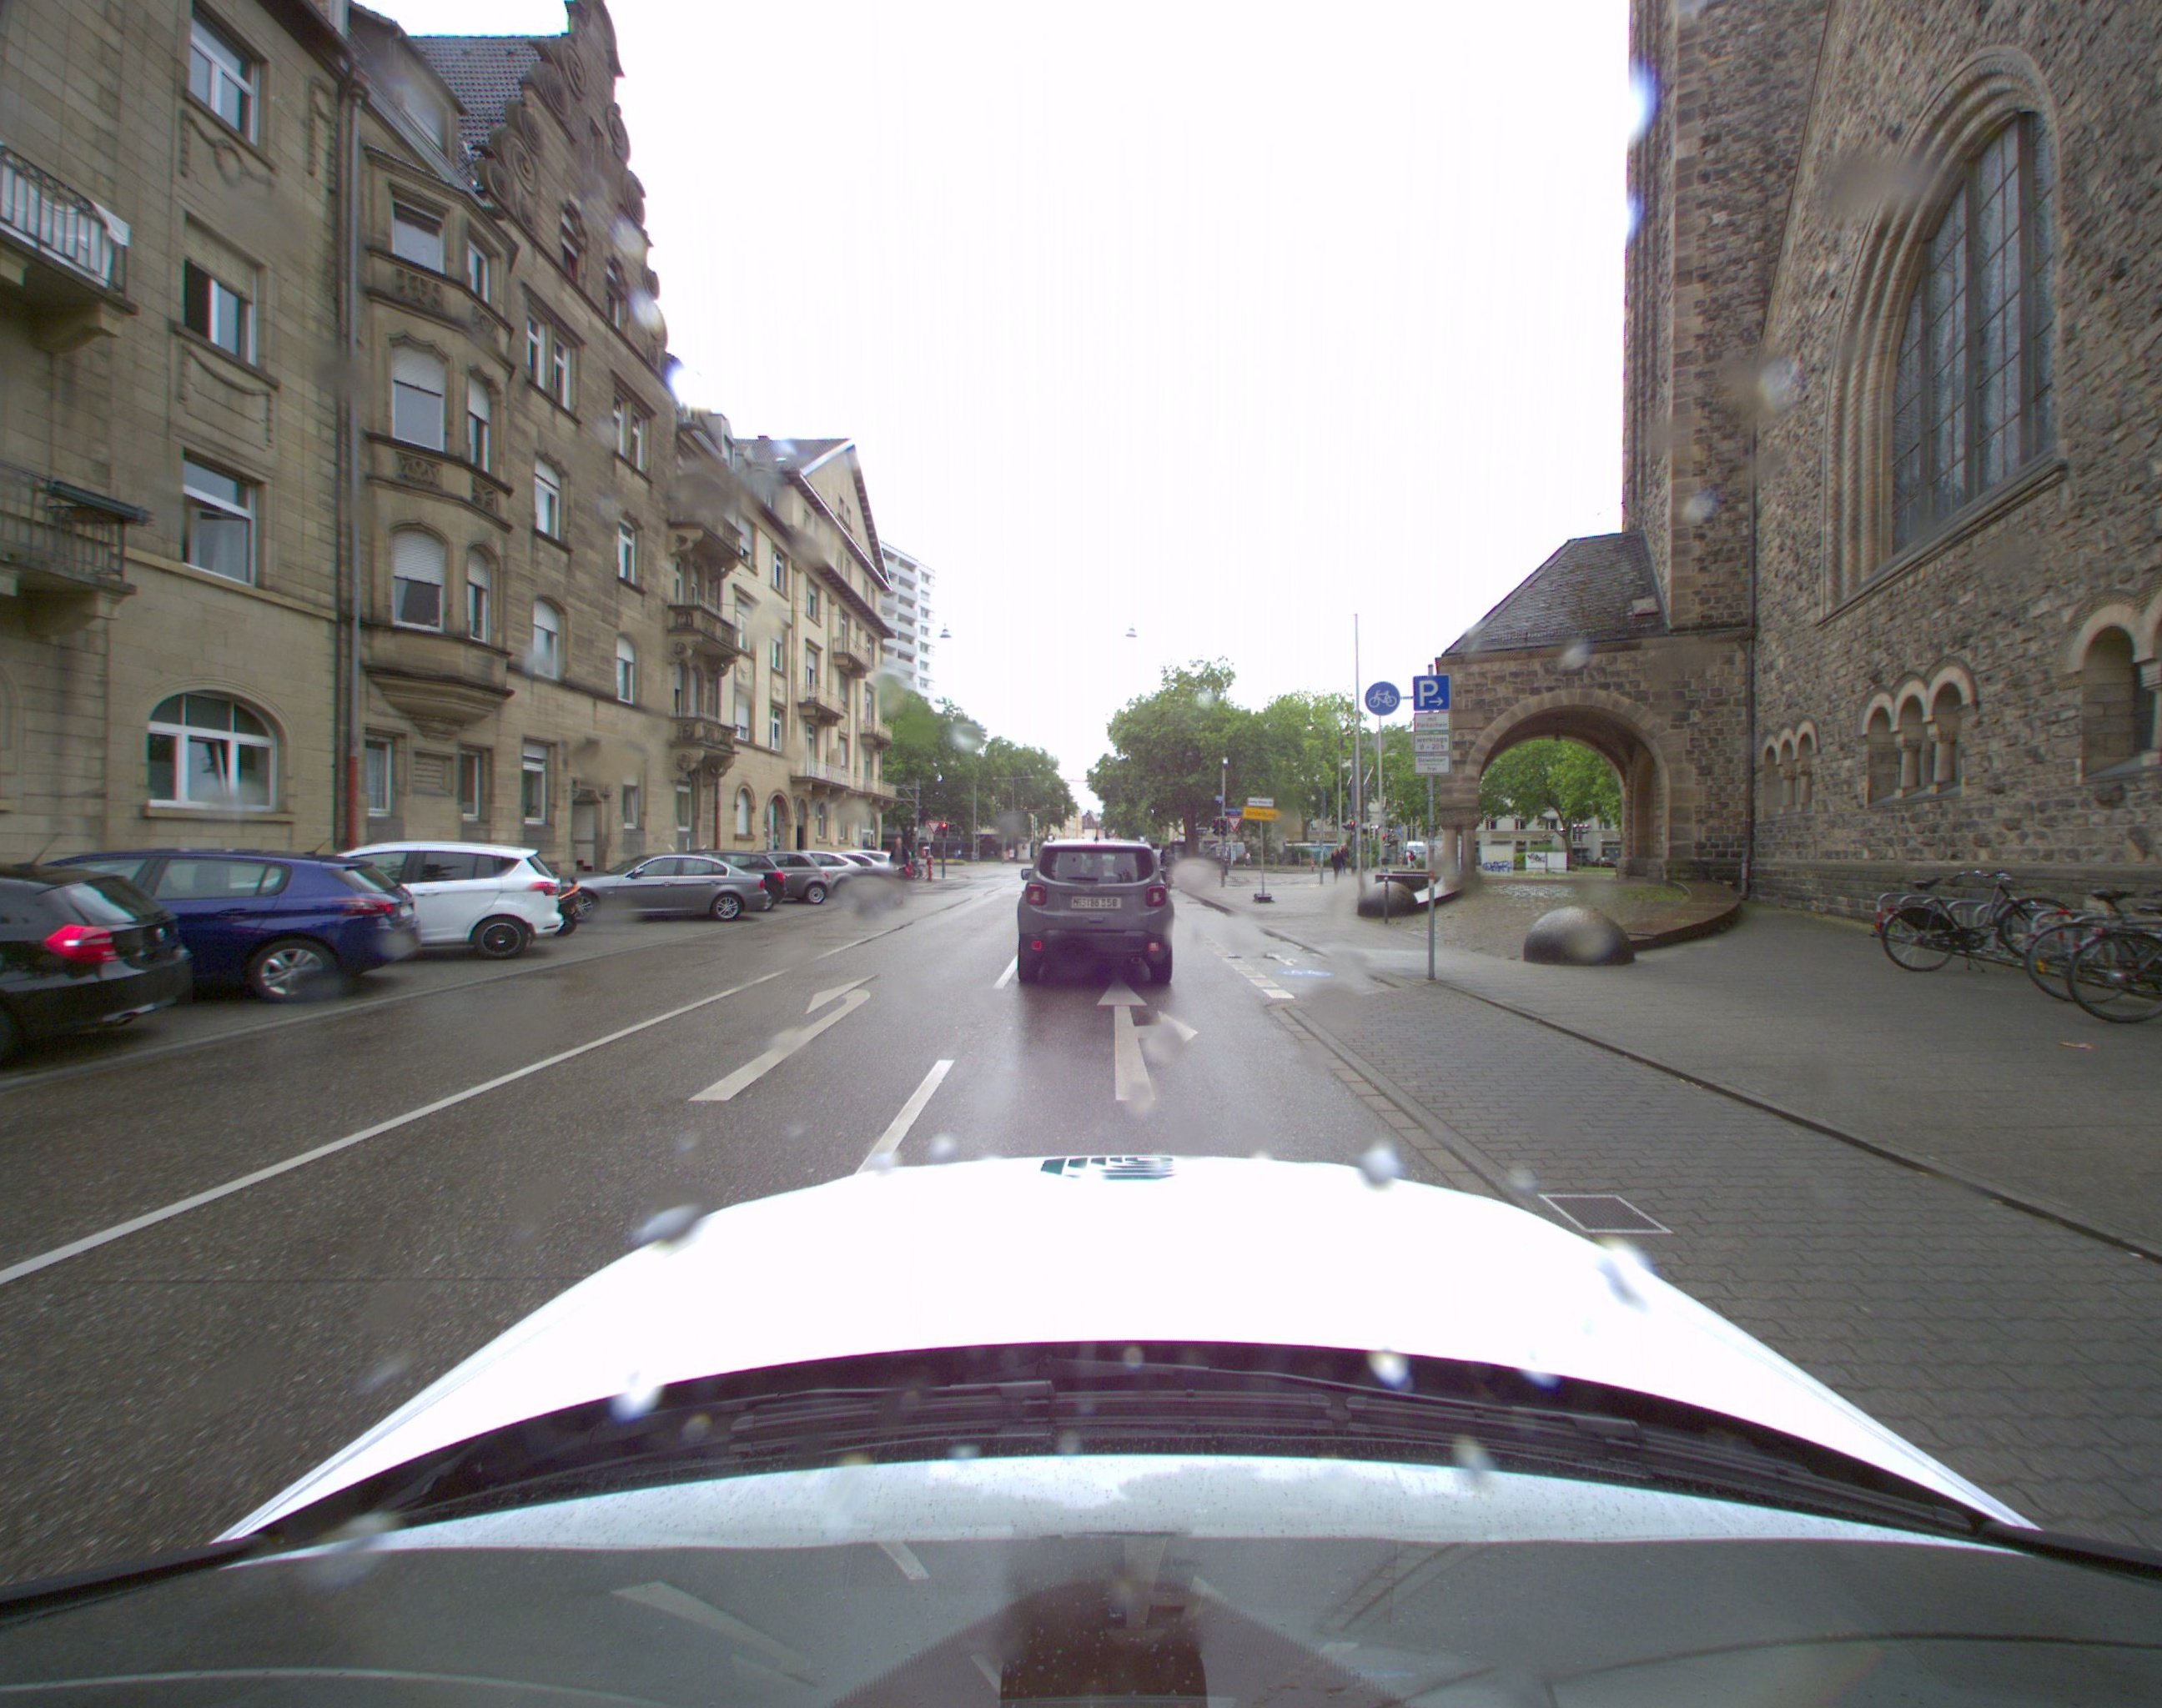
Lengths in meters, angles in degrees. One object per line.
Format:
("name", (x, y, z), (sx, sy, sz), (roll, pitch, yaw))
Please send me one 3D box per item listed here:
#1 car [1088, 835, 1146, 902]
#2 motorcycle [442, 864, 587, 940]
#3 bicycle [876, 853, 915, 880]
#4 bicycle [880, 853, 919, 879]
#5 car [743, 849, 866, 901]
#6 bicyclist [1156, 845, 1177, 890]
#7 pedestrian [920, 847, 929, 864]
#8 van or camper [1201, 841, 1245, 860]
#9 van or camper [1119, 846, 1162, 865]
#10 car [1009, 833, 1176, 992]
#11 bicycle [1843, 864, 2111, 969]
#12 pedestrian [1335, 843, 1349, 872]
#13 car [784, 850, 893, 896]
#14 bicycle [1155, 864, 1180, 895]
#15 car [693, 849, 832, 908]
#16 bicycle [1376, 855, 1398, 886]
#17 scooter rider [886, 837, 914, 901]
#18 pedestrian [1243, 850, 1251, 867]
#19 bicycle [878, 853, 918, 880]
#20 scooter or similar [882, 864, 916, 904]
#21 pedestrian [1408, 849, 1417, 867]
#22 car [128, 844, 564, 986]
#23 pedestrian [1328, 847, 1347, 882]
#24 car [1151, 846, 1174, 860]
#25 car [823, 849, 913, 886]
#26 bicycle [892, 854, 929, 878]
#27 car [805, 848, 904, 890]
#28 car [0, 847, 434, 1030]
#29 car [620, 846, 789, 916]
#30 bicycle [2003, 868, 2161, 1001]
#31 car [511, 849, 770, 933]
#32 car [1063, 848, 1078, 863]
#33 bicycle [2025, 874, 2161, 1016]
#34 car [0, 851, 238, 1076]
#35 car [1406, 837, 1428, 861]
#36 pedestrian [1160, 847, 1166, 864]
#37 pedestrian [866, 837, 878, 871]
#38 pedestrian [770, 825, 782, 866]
("car", (1.155, 0.416, 26.628), (1.763, 2.013, 4.002), (0, 0, 2))
("motorcycle", (-9.230, 0.777, 13.346), (1.880, 1.161, 0.627), (2, -1, -35))
("bicycle", (-8.898, 0.612, 39.057), (1.757, 1.266, 0.522), (0, 0, 0))
("bicycle", (-8.996, 0.605, 40.292), (1.804, 1.266, 0.498), (0, 0, 0))
("car", (-8.904, 0.632, 26.262), (3.419, 1.558, 1.687), (0, 0, -37))
("bicyclist", (3.148, 0.488, 29.987), (0.684, 1.617, 0.884), (-1, 0, 1))
("pedestrian", (-17.480, 0.183, 90.871), (0.686, 1.826, 0.623), (-1, 0, 18))
("van or camper", (17.589, -0.477, 101.028), (5.233, 2.315, 2.093), (1, 1, 6))
("van or camper", (9.644, 0.262, 131.588), (6.465, 2.912, 2.510), (0, 0, 28))
("car", (0.170, 0.613, 10.692), (1.768, 1.687, 3.849), (-1, 0, 1))
("bicycle", (10.046, 0.695, 9.213), (1.970, 1.105, 0.694), (-2, -1, 13))
("pedestrian", (15.872, 0.196, 49.497), (0.779, 1.759, 0.949), (-1, 0, 17))
("car", (-8.748, 0.634, 29.452), (3.419, 1.558, 1.687), (0, 0, -37))
("bicycle", (3.159, 0.928, 30.054), (0.689, 1.021, 2.659), (-1, 0, 1))
("car", (-9.063, 0.635, 23.256), (3.419, 1.558, 1.634), (0, 0, -37))
("bicycle", (11.670, 0.610, 31.094), (0.327, 1.154, 2.080), (0, 0, 8))
("scooter rider", (-5.565, 0.451, 25.023), (0.708, 1.935, 0.503), (-1, 0, -1))
("pedestrian", (15.298, 0.391, 75.243), (0.607, 1.603, 0.497), (0, 0, 26))
("bicycle", (-8.894, 0.600, 39.605), (1.804, 1.266, 0.498), (0, 0, 0))
("scooter or similar", (-5.558, 0.901, 24.949), (0.698, 1.165, 1.385), (-1, 0, 0))
("pedestrian", (28.686, 0.369, 70.478), (0.667, 1.554, 0.766), (0, -1, 30))
("car", (-9.434, 0.653, 10.921), (4.064, 1.555, 1.778), (-1, 0, -39))
("pedestrian", (12.170, 0.480, 38.624), (0.775, 1.645, 0.659), (-1, 0, 24))
("car", (12.604, -0.160, 125.911), (3.410, 2.014, 1.554), (-1, 0, 15))
("car", (-9.201, 0.550, 35.283), (3.419, 1.558, 1.687), (0, 0, -37))
("bicycle", (-8.832, 0.620, 42.197), (1.757, 1.266, 0.608), (0, 0, 0))
("car", (-8.977, 0.545, 32.289), (3.419, 1.558, 1.687), (0, 0, -37))
("car", (-9.240, 0.733, 8.127), (4.053, 1.573, 1.783), (-1, 0, -27))
("car", (-9.298, 0.605, 20.209), (3.570, 1.598, 1.588), (0, 0, -37))
("bicycle", (9.480, 0.697, 7.202), (1.696, 1.111, 0.564), (-2, -1, 16))
("car", (-9.172, 0.671, 17.202), (4.572, 1.545, 1.669), (0, 0, -41))
("car", (-1.185, 0.144, 91.520), (1.717, 1.739, 3.727), (0, 0, -2))
("bicycle", (8.759, 0.682, 6.269), (1.969, 1.054, 0.515), (-2, -1, 16))
("car", (-8.927, 0.751, 5.558), (4.056, 1.512, 1.781), (-1, 0, -30))
("car", (36.853, -0.508, 89.337), (1.889, 2.555, 4.815), (0, 0, 26))
("pedestrian", (9.950, 0.148, 99.133), (0.646, 2.013, 0.484), (0, 0, 14))
("pedestrian", (-12.509, -0.004, 48.727), (0.565, 2.013, 0.655), (0, 0, 2))
("pedestrian", (-13.733, -0.379, 36.663), (0.365, 1.822, 0.347), (-1, -1, 0))
